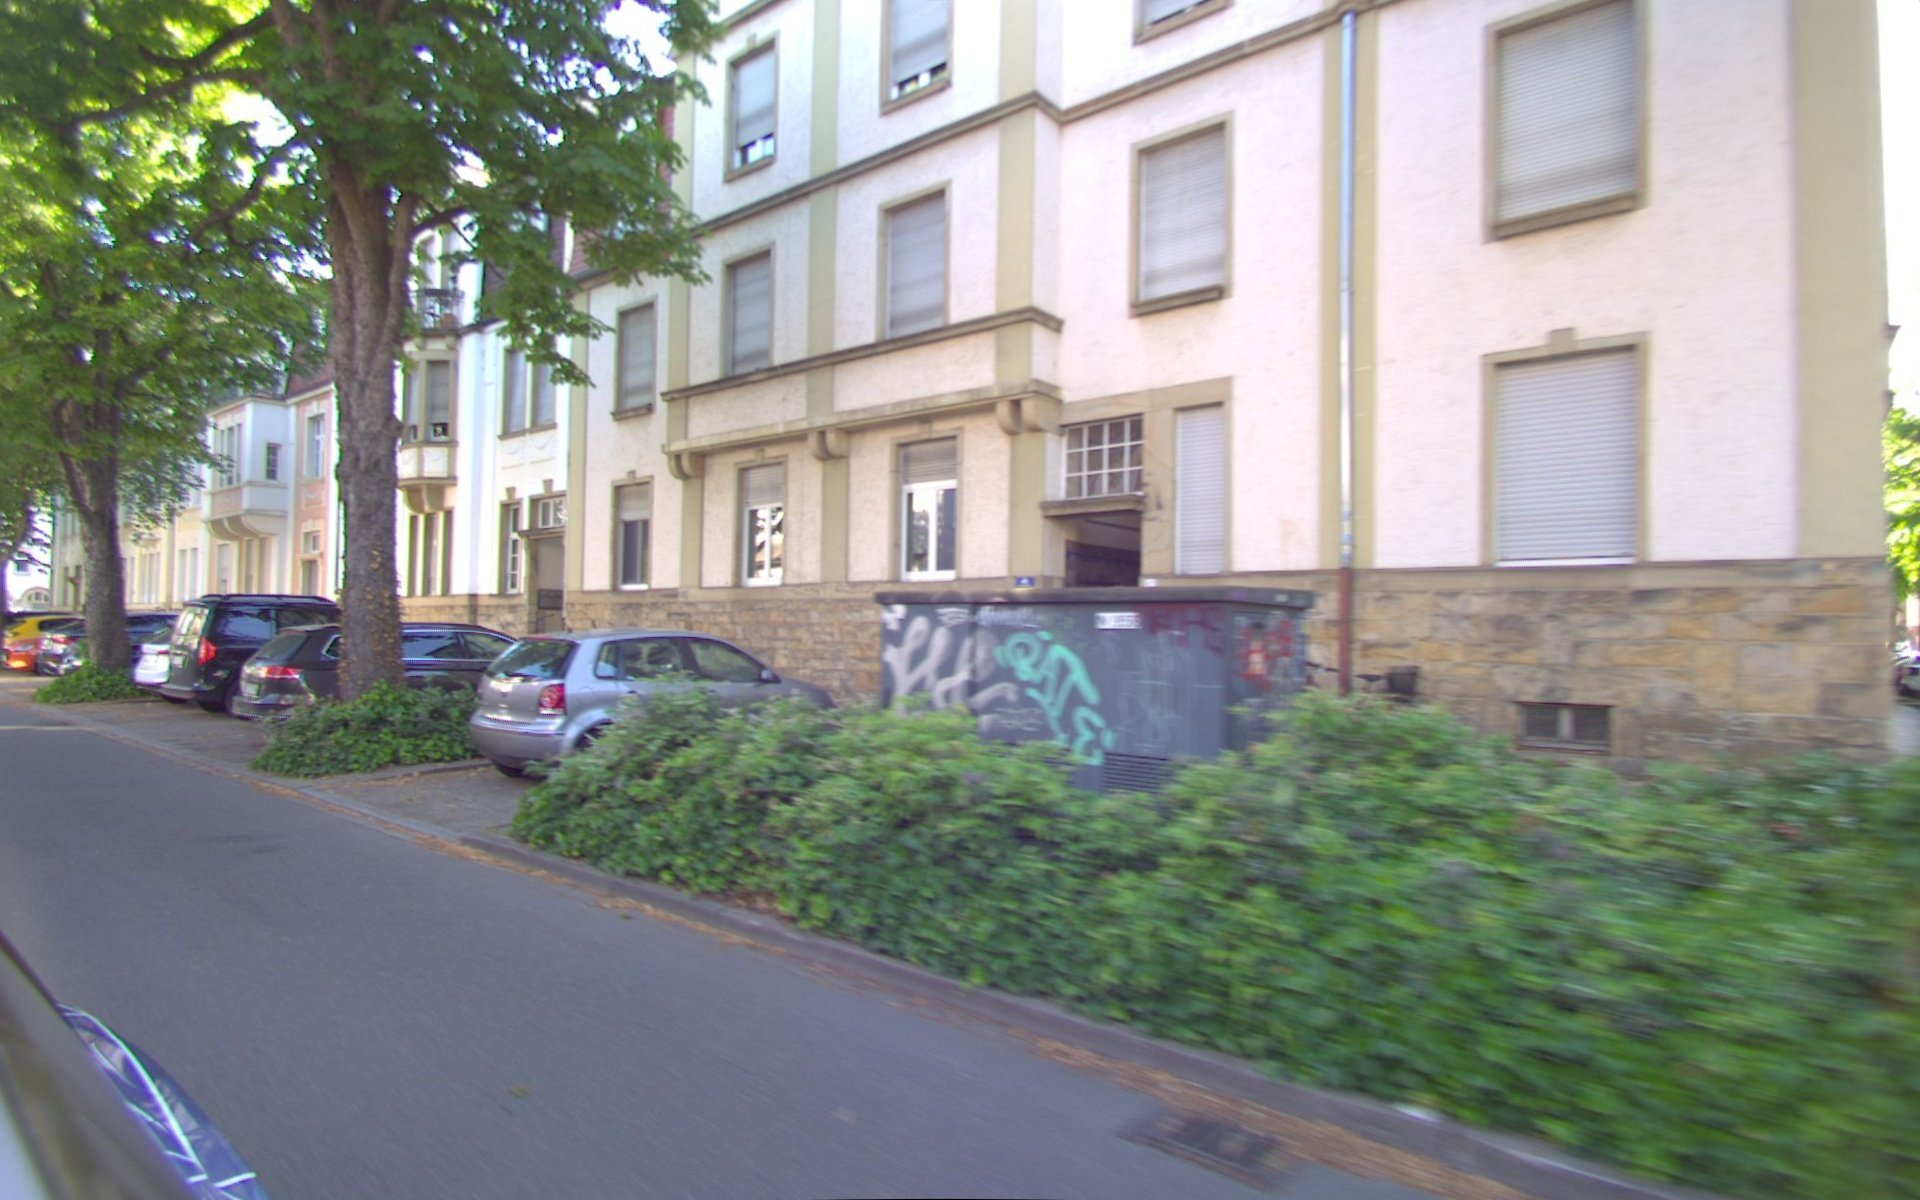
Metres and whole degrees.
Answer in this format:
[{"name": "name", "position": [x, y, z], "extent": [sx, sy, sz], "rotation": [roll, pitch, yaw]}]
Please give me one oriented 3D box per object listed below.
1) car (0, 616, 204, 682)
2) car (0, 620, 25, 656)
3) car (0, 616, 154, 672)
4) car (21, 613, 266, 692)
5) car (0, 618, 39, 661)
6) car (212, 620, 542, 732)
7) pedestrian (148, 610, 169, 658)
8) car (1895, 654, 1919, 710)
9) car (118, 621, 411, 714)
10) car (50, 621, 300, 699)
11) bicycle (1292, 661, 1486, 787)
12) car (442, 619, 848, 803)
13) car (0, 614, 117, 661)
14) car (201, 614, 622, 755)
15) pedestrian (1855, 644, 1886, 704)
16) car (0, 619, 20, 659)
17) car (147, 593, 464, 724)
[{"name": "car", "position": [-21.916, 1.196, 25.753], "extent": [1.745, 1.526, 3.948], "rotation": [0, -1, 38]}, {"name": "car", "position": [-38.684, 1.462, 38.650], "extent": [1.701, 1.359, 4.171], "rotation": [0, -1, 38]}, {"name": "car", "position": [-25.187, 1.184, 28.373], "extent": [1.862, 1.473, 3.752], "rotation": [0, -1, 40]}, {"name": "car", "position": [-18.135, 1.107, 22.629], "extent": [1.857, 1.604, 3.949], "rotation": [-1, -1, 38]}, {"name": "car", "position": [-35.187, 1.388, 35.577], "extent": [1.784, 1.494, 3.947], "rotation": [0, -1, 40]}, {"name": "car", "position": [-8.697, 1.063, 15.399], "extent": [1.825, 1.448, 3.943], "rotation": [0, -2, 36]}, {"name": "pedestrian", "position": [-28.350, 1.210, 35.787], "extent": [0.454, 1.671, 0.895], "rotation": [3, -3, -43]}, {"name": "car", "position": [26.453, 2.130, 25.608], "extent": [3.998, 1.431, 1.780], "rotation": [-1, -3, 41]}, {"name": "car", "position": [-12.300, 1.132, 18.129], "extent": [1.738, 1.459, 3.953], "rotation": [0, -2, 35]}, {"name": "car", "position": [-16.157, 1.160, 20.949], "extent": [1.859, 1.457, 3.859], "rotation": [-1, -2, 43]}, {"name": "bicycle", "position": [4.284, 1.200, 10.175], "extent": [1.696, 1.106, 0.622], "rotation": [-1, -2, 38]}, {"name": "car", "position": [-3.012, 0.975, 10.273], "extent": [1.639, 1.499, 3.639], "rotation": [0, -2, 38]}, {"name": "car", "position": [-30.933, 1.255, 33.834], "extent": [1.721, 1.519, 3.946], "rotation": [0, -3, 40]}, {"name": "car", "position": [-6.964, 0.985, 13.319], "extent": [1.889, 1.514, 4.489], "rotation": [0, -2, 37]}, {"name": "pedestrian", "position": [24.557, 1.988, 27.300], "extent": [0.576, 1.575, 0.476], "rotation": [-1, -3, 41]}, {"name": "car", "position": [-37.128, 1.434, 37.332], "extent": [1.702, 1.463, 3.398], "rotation": [0, -1, 41]}, {"name": "car", "position": [-10.525, 0.891, 16.531], "extent": [1.826, 1.870, 3.942], "rotation": [0, -2, 37]}]
